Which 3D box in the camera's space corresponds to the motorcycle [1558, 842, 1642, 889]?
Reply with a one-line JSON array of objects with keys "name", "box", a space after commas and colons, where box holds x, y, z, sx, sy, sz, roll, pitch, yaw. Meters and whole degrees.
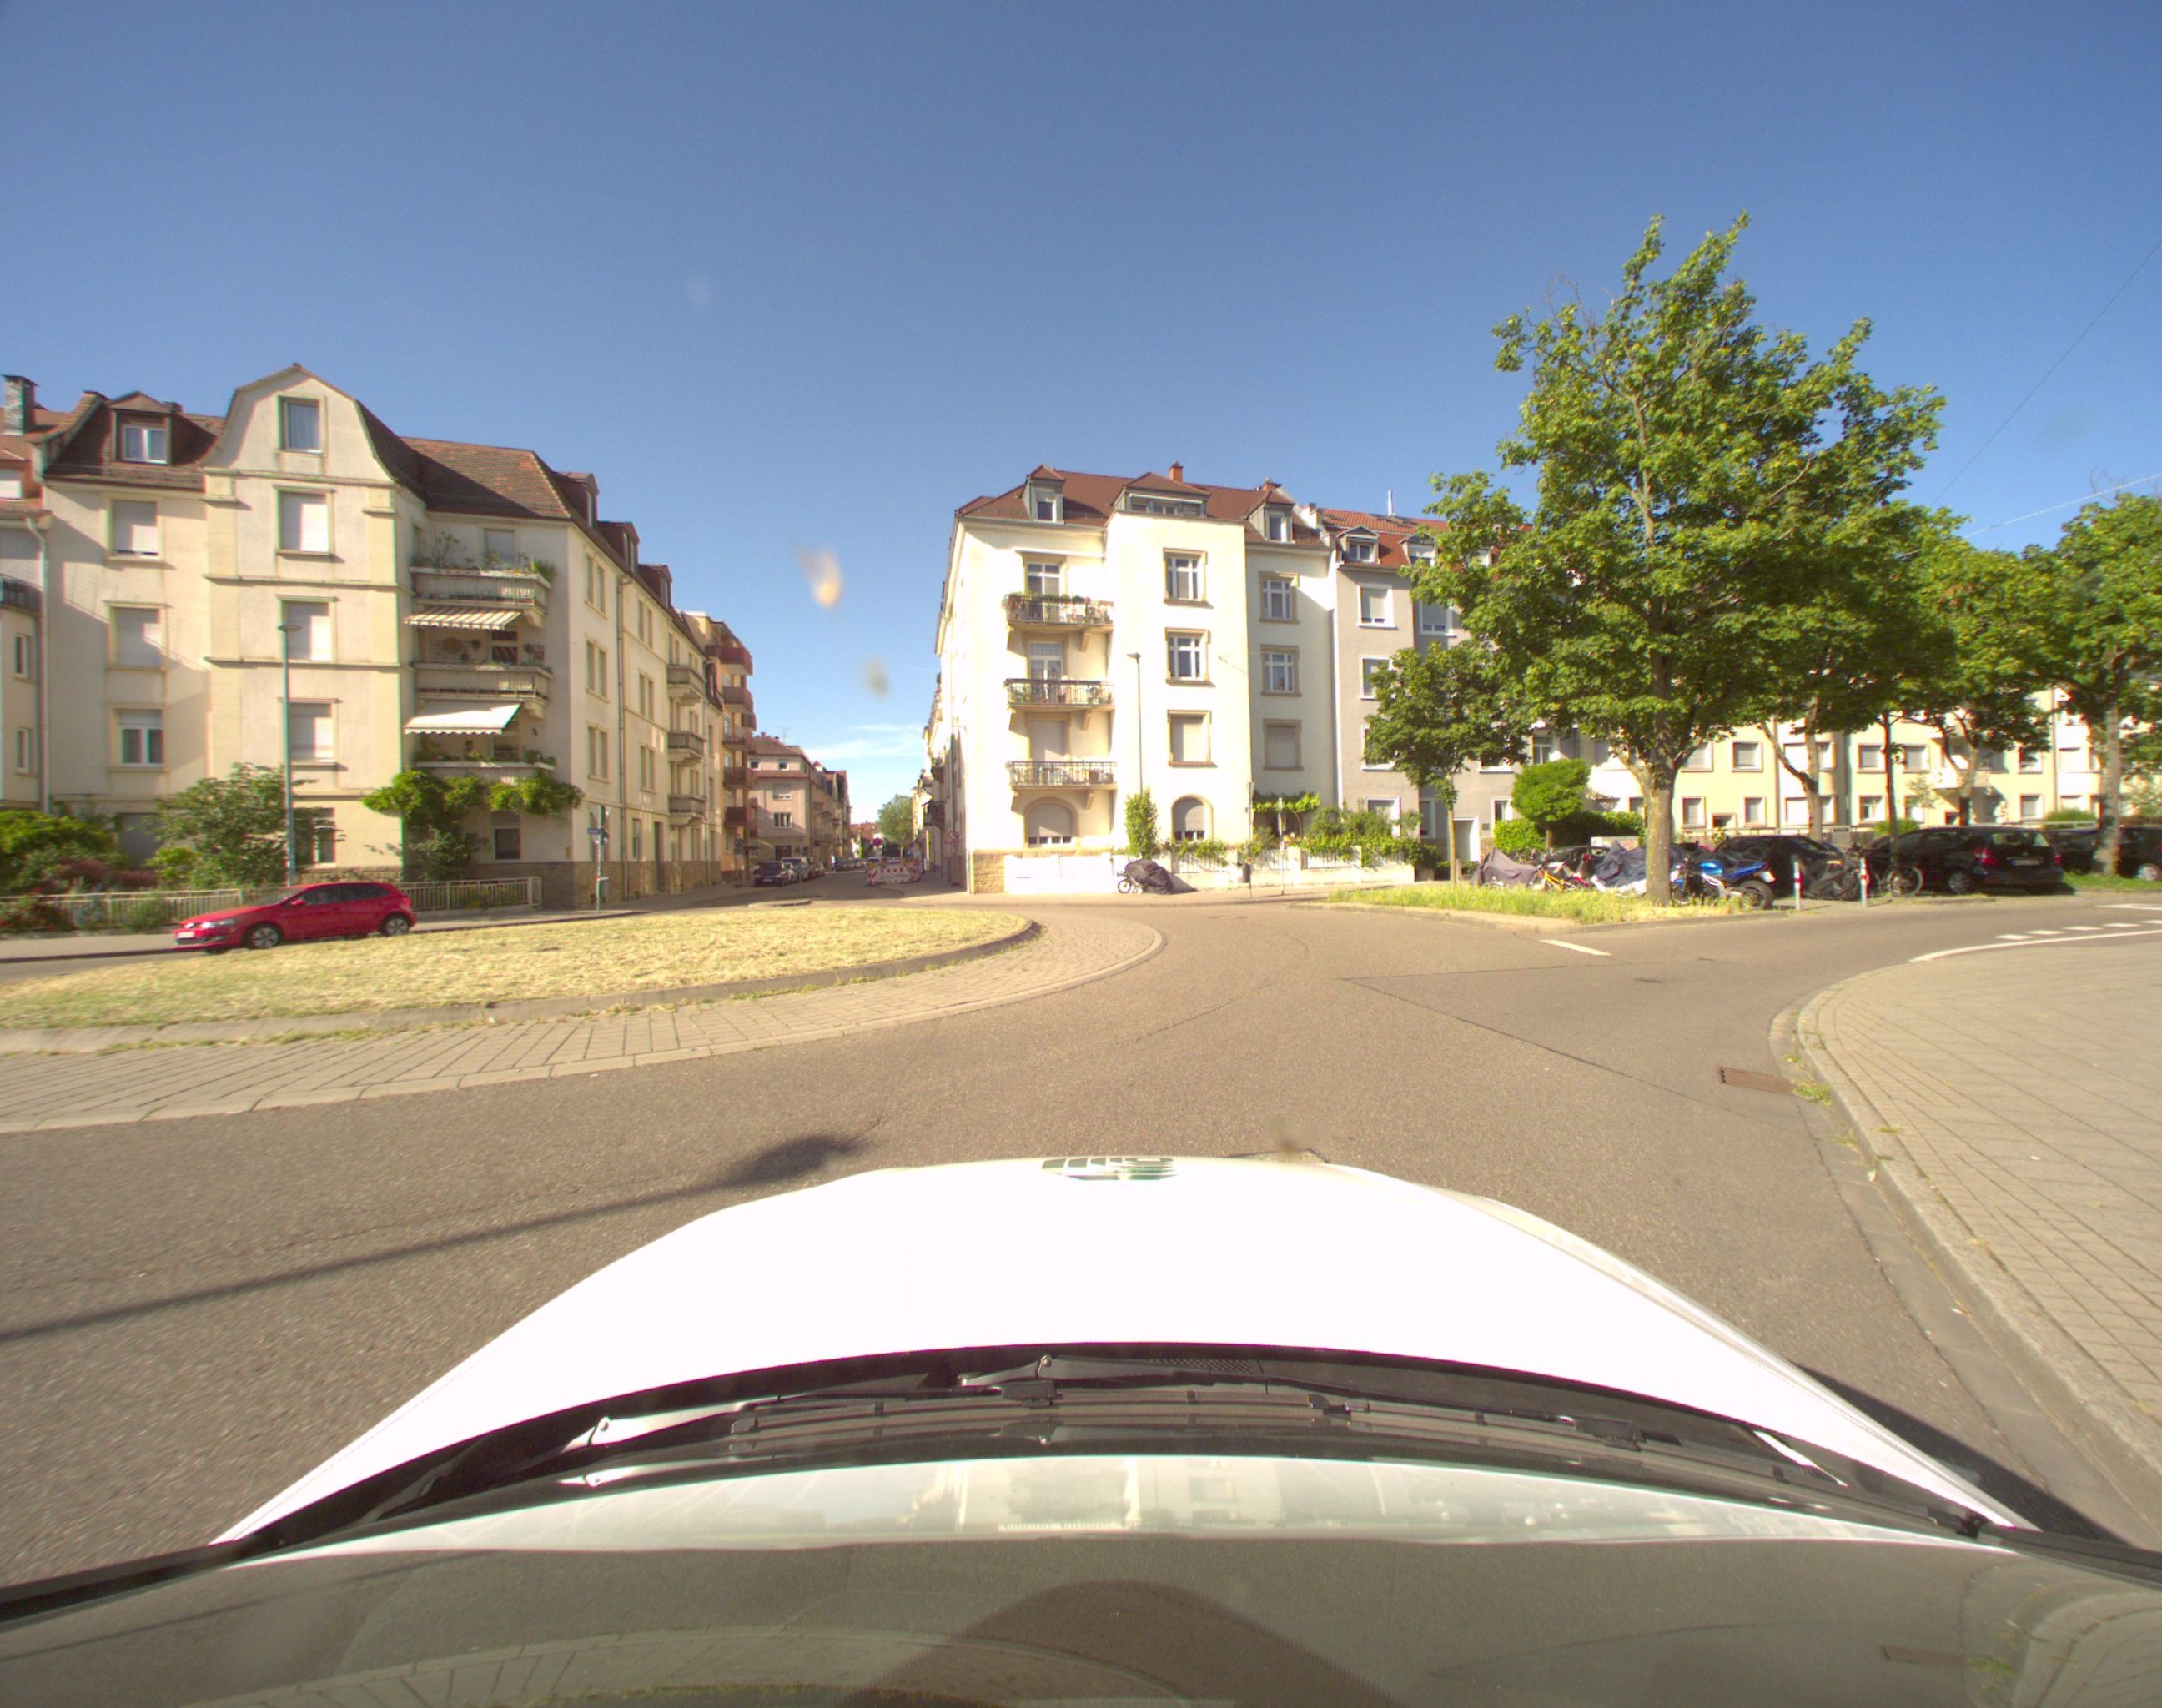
[{"name": "motorcycle", "box": [14.650, 0.321, 23.056, 0.888, 1.236, 1.885, -1, 0, -14]}]

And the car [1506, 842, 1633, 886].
[{"name": "car", "box": [17.857, 0.369, 29.794, 3.952, 1.445, 1.743, -2, -2, -17]}]

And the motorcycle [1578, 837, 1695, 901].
[{"name": "motorcycle", "box": [12.348, 0.332, 18.193, 0.862, 1.328, 2.042, -1, 0, -18]}]

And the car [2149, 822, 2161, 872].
[{"name": "car", "box": [34.085, -0.241, 23.430, 1.766, 1.548, 4.009, -2, 0, 8]}]

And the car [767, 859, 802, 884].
[{"name": "car", "box": [-20.896, 1.206, 57.514, 1.764, 1.621, 4.276, -1, 0, -13]}]

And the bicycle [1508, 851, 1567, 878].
[{"name": "bicycle", "box": [18.882, 0.427, 33.690, 2.251, 1.059, 0.680, -2, 0, -12]}]

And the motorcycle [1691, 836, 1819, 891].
[{"name": "motorcycle", "box": [16.595, 0.232, 20.134, 1.050, 1.267, 2.231, -1, 0, -14]}]

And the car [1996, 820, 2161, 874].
[{"name": "car", "box": [32.500, -0.234, 26.282, 1.868, 1.591, 4.012, -2, 0, 11]}]

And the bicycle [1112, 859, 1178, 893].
[{"name": "bicycle", "box": [2.286, 0.780, 29.215, 2.257, 1.157, 0.771, -1, -1, 29]}]

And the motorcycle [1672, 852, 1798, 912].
[{"name": "motorcycle", "box": [12.914, 0.514, 16.166, 0.813, 1.072, 1.836, -2, 1, -14]}]

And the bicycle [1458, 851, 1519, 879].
[{"name": "bicycle", "box": [16.507, 0.446, 32.990, 2.251, 1.059, 0.680, -2, 0, -12]}]

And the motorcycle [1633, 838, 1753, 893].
[{"name": "motorcycle", "box": [15.298, 0.284, 20.439, 1.050, 1.267, 2.231, -1, 0, -14]}]

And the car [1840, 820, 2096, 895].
[{"name": "car", "box": [21.227, 0.078, 19.785, 1.985, 1.598, 4.004, -1, 0, 4]}]

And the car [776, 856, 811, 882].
[{"name": "car", "box": [-22.098, 1.107, 62.770, 1.977, 1.925, 5.286, -1, 0, -13]}]

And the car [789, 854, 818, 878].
[{"name": "car", "box": [-23.498, 1.012, 69.154, 1.764, 1.925, 4.913, -1, 0, -13]}]

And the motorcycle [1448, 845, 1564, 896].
[{"name": "motorcycle", "box": [11.495, 0.425, 22.161, 1.127, 1.267, 2.765, -1, 0, -19]}]

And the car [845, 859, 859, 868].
[{"name": "car", "box": [-37.212, 1.568, 132.288, 1.981, 1.482, 4.308, 1, -1, -13]}]

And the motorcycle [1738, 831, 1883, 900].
[{"name": "motorcycle", "box": [16.028, 0.247, 17.982, 1.062, 1.392, 2.115, -2, 0, -16]}]

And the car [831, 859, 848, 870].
[{"name": "car", "box": [-31.411, 1.425, 106.166, 1.680, 1.426, 4.258, 1, -1, -11]}]

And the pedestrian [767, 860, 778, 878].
[{"name": "pedestrian", "box": [-30.076, 1.460, 79.482, 0.926, 1.817, 0.989, 0, -1, -16]}]

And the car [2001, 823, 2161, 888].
[{"name": "car", "box": [27.696, 0.026, 21.856, 1.861, 1.598, 4.011, -1, 0, 9]}]

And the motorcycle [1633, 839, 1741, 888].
[{"name": "motorcycle", "box": [16.835, 0.267, 22.699, 1.050, 1.267, 2.231, -1, 0, -14]}]

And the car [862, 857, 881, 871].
[{"name": "car", "box": [-23.203, 1.143, 90.397, 1.840, 1.431, 4.012, -3, -1, -12]}]

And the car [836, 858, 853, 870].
[{"name": "car", "box": [-33.824, 1.446, 116.444, 2.006, 1.582, 4.466, 1, -1, -13]}]

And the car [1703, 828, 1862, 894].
[{"name": "car", "box": [19.404, 0.176, 22.753, 1.785, 1.640, 3.892, -2, 0, 14]}]

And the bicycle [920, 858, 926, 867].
[{"name": "bicycle", "box": [-22.871, 1.275, 117.552, 0.762, 1.246, 2.580, -1, 0, -12]}]

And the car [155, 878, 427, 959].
[{"name": "car", "box": [-17.639, 1.377, 18.455, 1.697, 1.382, 4.021, -2, 1, 20]}]

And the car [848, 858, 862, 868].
[{"name": "car", "box": [-38.039, 1.460, 136.955, 2.006, 1.619, 4.466, 1, -1, -13]}]

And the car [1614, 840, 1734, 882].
[{"name": "car", "box": [22.710, 0.234, 31.204, 3.851, 1.445, 1.743, -2, 0, -17]}]

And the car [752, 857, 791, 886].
[{"name": "car", "box": [-19.806, 1.101, 52.269, 1.764, 1.771, 4.275, -1, 0, -13]}]
